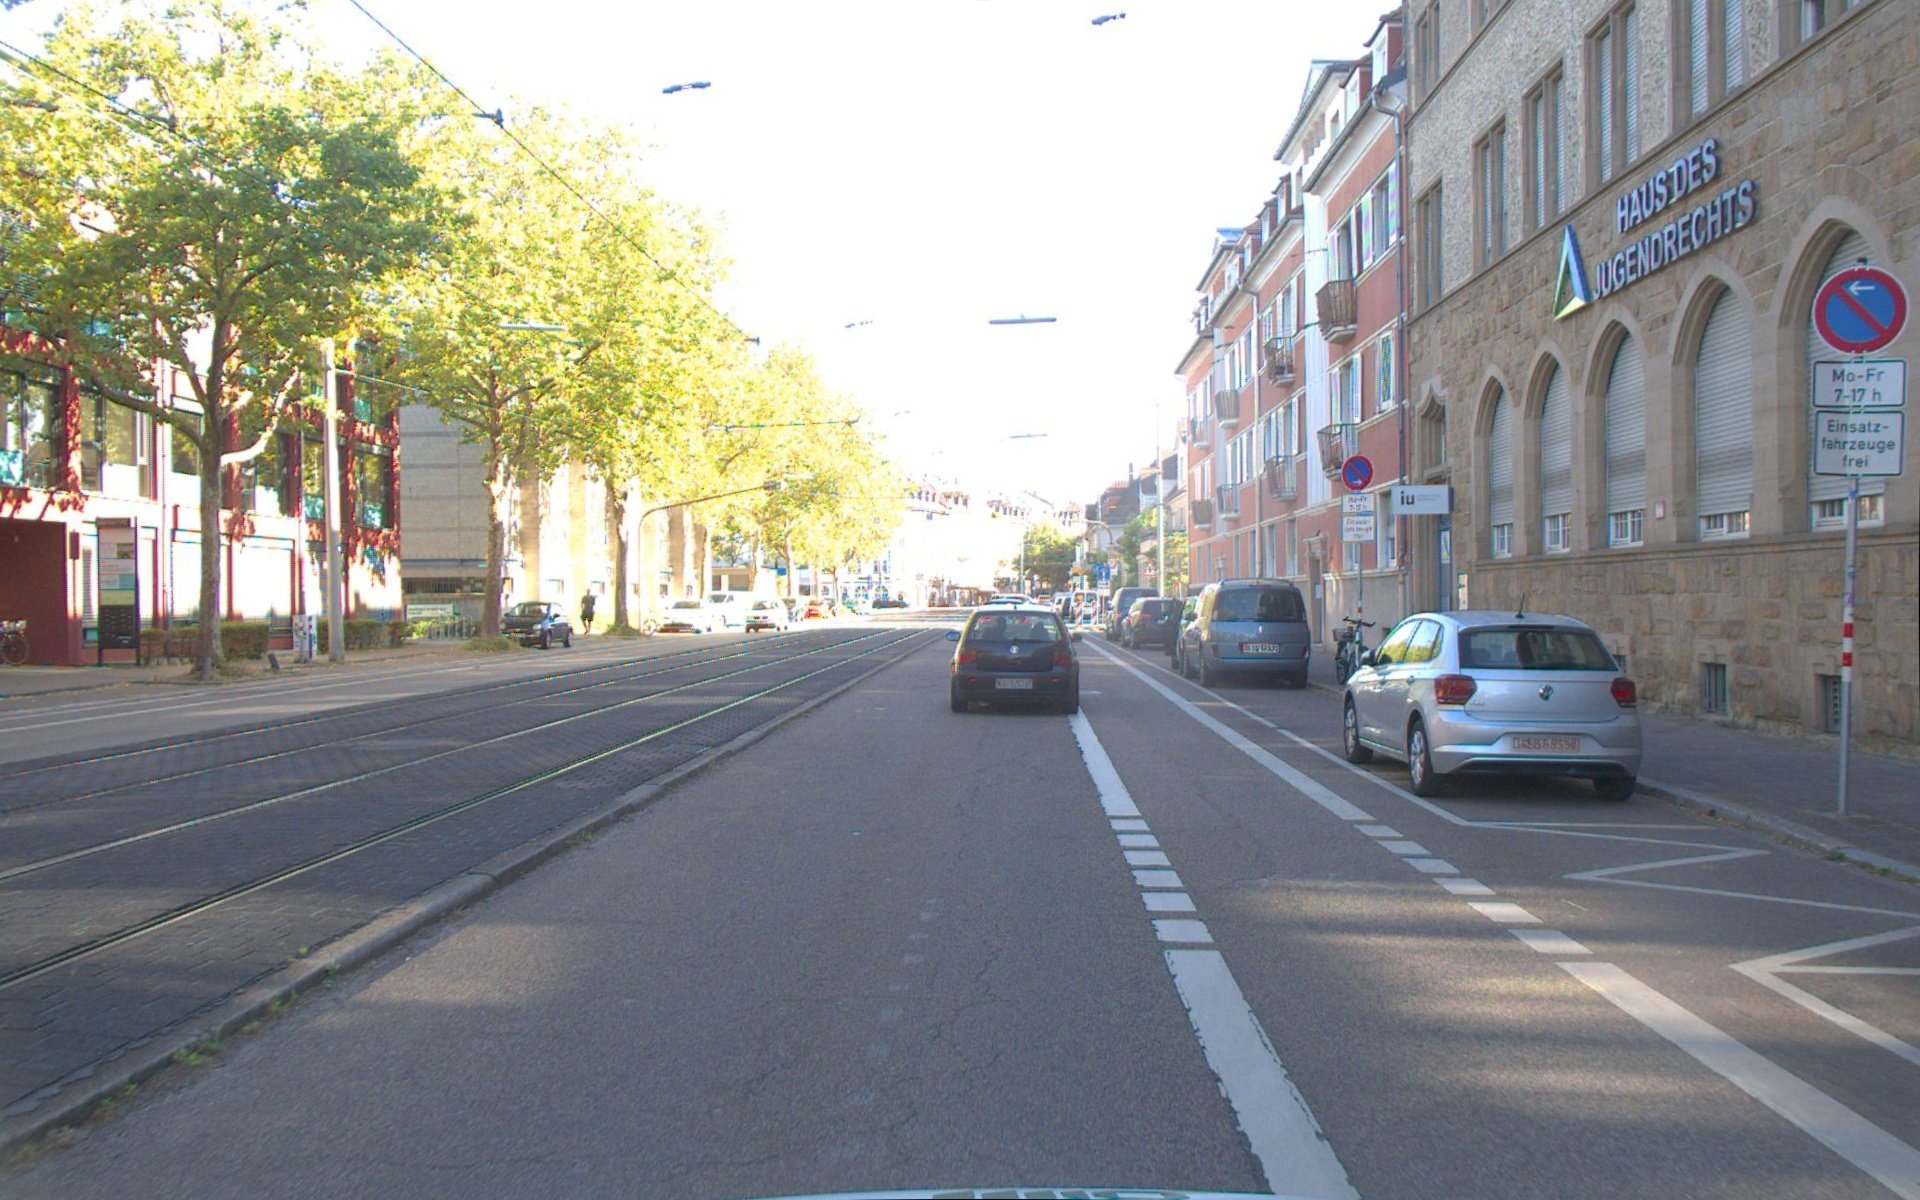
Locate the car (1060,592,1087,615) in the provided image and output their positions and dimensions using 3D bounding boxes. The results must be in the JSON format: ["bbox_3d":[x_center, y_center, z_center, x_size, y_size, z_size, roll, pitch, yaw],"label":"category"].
[{"bbox_3d":[7.714,0.236,112.638,1.626,1.552,4.037,-1,0,2],"label":"car"}]

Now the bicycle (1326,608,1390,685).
[{"bbox_3d":[6.539,0.735,27.263,0.504,1.159,2.259,-2,0,1],"label":"bicycle"}]

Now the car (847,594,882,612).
[{"bbox_3d":[-11.349,0.351,195.860,3.914,2.049,1.996,1,0,-10],"label":"car"}]

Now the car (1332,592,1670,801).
[{"bbox_3d":[4.515,0.711,14.466,1.678,1.527,4.227,1,0,2],"label":"car"}]

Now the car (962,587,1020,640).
[{"bbox_3d":[1.012,0.402,52.496,1.712,1.564,3.893,-1,0,2],"label":"car"}]

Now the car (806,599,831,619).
[{"bbox_3d":[-10.978,0.705,128.545,1.537,1.560,3.573,-1,-1,2],"label":"car"}]

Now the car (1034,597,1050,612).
[{"bbox_3d":[8.811,0.456,176.874,1.633,1.625,3.651,0,0,2],"label":"car"}]

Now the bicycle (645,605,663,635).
[{"bbox_3d":[-13.296,0.857,71.838,0.569,1.230,1.652,1,0,-4],"label":"bicycle"}]

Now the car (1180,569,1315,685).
[{"bbox_3d":[5.029,0.432,29.484,1.716,1.888,4.817,0,0,2],"label":"car"}]

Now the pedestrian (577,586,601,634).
[{"bbox_3d":[-14.938,0.412,66.597,0.775,1.902,0.665,1,0,-26],"label":"pedestrian"}]

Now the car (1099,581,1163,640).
[{"bbox_3d":[5.918,0.335,57.705,1.668,1.841,4.271,4,0,0],"label":"car"}]

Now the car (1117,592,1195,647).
[{"bbox_3d":[5.757,0.539,49.087,1.718,1.538,4.762,1,0,0],"label":"car"}]

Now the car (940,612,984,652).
[{"bbox_3d":[0.105,1.361,71.356,1.712,1.564,3.893,-1,0,2],"label":"car"}]

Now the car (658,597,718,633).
[{"bbox_3d":[-12.701,0.676,77.406,1.970,1.600,4.694,1,1,0],"label":"car"}]

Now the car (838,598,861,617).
[{"bbox_3d":[-10.544,0.668,157.393,1.845,1.698,3.805,1,1,1],"label":"car"}]

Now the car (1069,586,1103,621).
[{"bbox_3d":[7.037,0.162,92.884,1.722,1.870,3.548,1,1,2],"label":"car"}]

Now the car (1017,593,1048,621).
[{"bbox_3d":[3.898,0.357,89.526,1.602,1.498,3.730,-1,0,2],"label":"car"}]

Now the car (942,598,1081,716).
[{"bbox_3d":[0.660,0.711,22.649,1.712,1.399,4.000,-1,0,0],"label":"car"}]

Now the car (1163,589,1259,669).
[{"bbox_3d":[5.170,0.562,34.437,1.597,1.538,3.718,1,0,3],"label":"car"}]

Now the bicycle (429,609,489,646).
[{"bbox_3d":[-18.090,0.987,59.718,1.966,1.301,0.664,1,0,2],"label":"bicycle"}]

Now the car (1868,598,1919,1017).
[{"bbox_3d":[4.274,0.781,4.275,1.716,1.527,4.198,1,0,3],"label":"car"}]

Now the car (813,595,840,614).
[{"bbox_3d":[-11.142,0.377,137.960,1.755,1.491,3.836,2,0,2],"label":"car"}]

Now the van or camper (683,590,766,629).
[{"bbox_3d":[-12.439,0.488,87.757,2.018,1.983,5.189,1,1,21],"label":"van or camper"}]

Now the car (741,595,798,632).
[{"bbox_3d":[-8.622,0.604,75.123,1.716,1.544,4.074,-3,0,5],"label":"car"}]

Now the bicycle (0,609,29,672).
[{"bbox_3d":[-20.826,0.839,34.858,2.020,1.294,0.618,1,0,-3],"label":"bicycle"}]

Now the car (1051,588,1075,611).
[{"bbox_3d":[8.412,-0.032,135.250,1.780,1.830,4.001,-1,0,2],"label":"car"}]

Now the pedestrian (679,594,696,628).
[{"bbox_3d":[-15.090,0.619,91.467,0.780,1.852,0.670,1,0,2],"label":"pedestrian"}]

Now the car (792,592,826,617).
[{"bbox_3d":[-10.246,0.289,112.394,1.848,1.695,4.001,-1,0,2],"label":"car"}]

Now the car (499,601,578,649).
[{"bbox_3d":[-13.541,0.804,53.298,1.476,1.479,3.464,0,-1,3],"label":"car"}]

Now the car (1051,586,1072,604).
[{"bbox_3d":[7.982,-0.394,130.568,1.547,1.399,4.001,-1,0,2],"label":"car"}]
